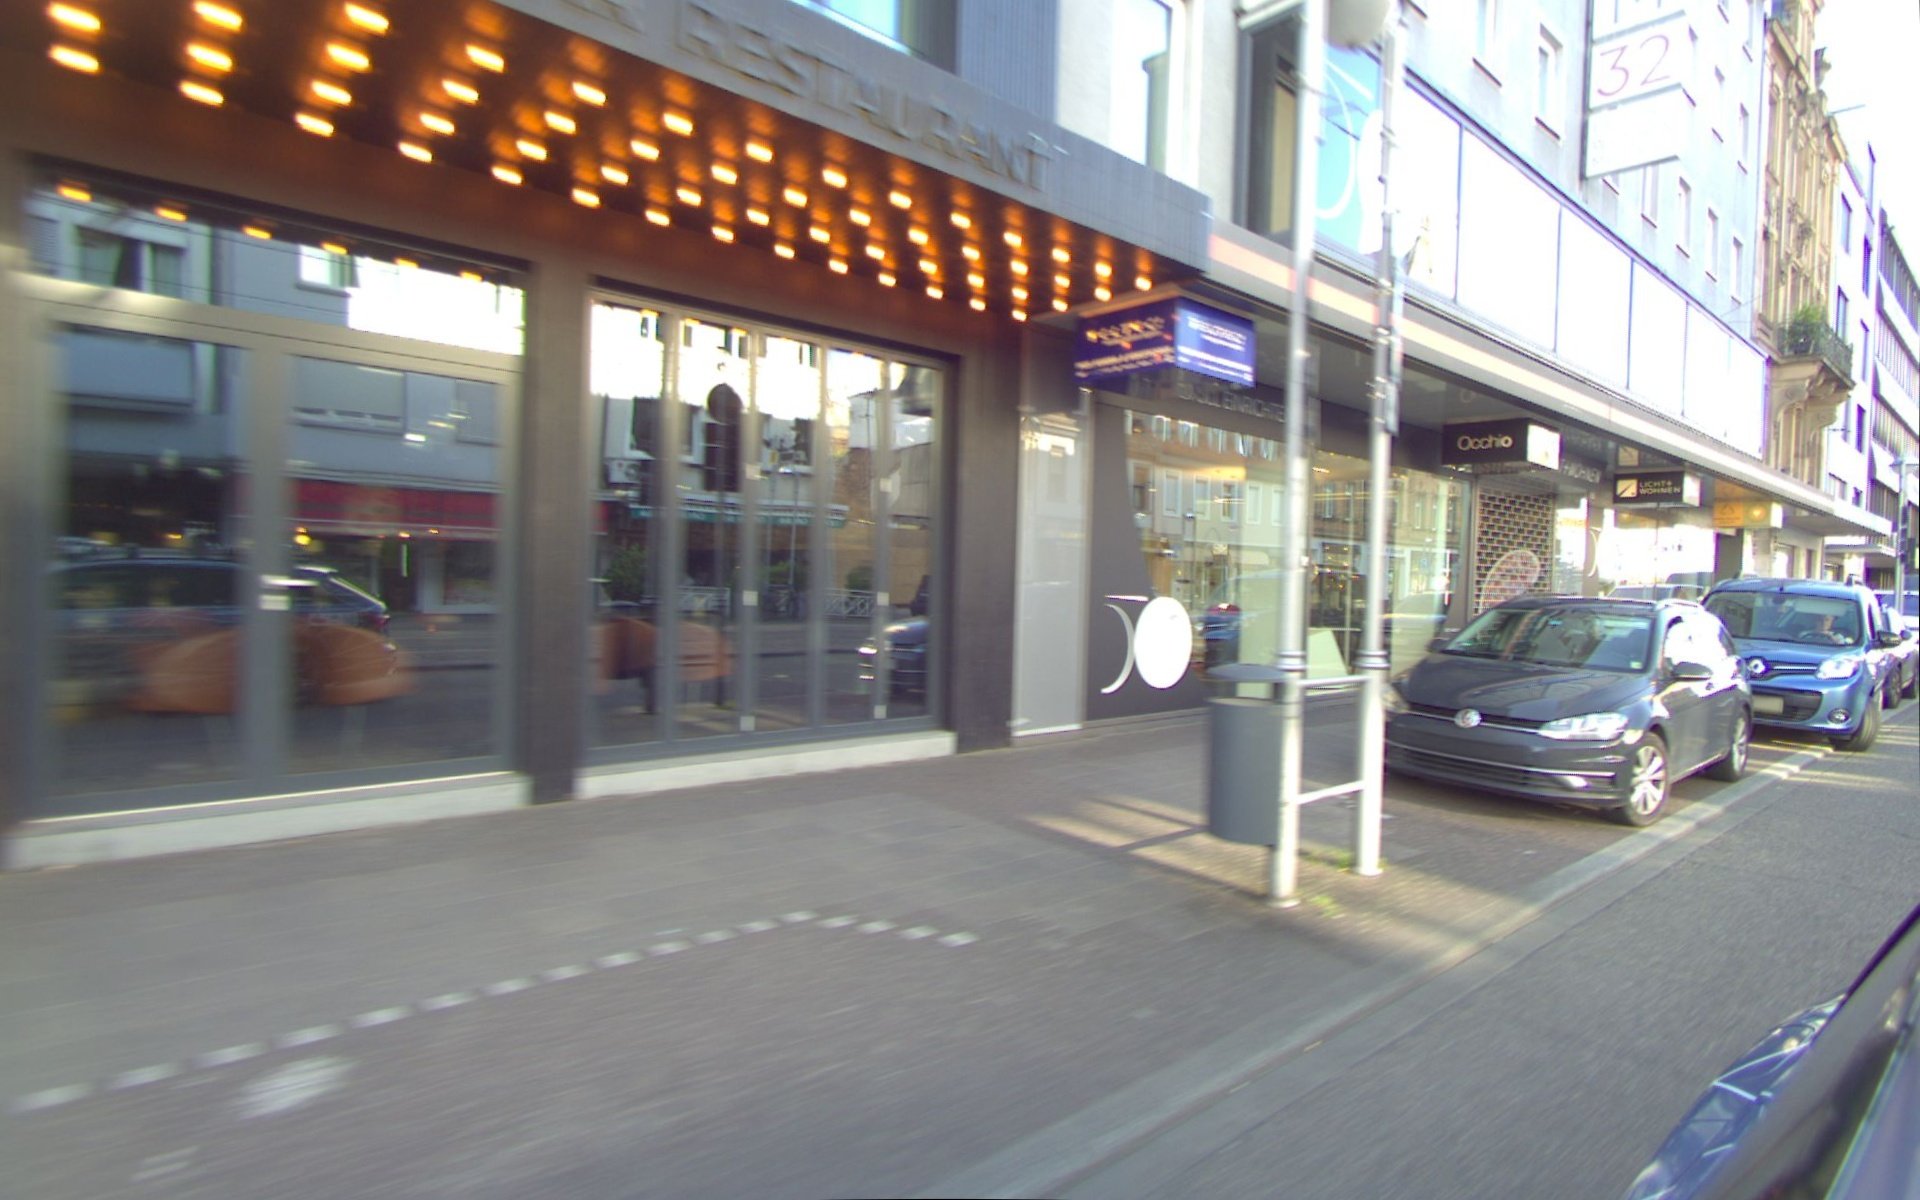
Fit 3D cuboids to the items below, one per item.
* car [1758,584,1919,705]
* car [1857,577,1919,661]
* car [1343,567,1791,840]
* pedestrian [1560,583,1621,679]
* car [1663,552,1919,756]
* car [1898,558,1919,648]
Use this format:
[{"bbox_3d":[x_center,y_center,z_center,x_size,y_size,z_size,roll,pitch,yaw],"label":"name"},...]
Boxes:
[{"bbox_3d":[14.394,0.594,16.232,4.215,1.596,1.767,0,4,-42],"label":"car"},{"bbox_3d":[24.084,0.439,25.312,4.799,1.933,2.048,-1,3,-44],"label":"car"},{"bbox_3d":[4.927,0.565,7.931,4.340,1.502,1.725,0,4,-42],"label":"car"},{"bbox_3d":[10.129,0.479,16.258,0.718,1.457,0.576,0,4,-41],"label":"pedestrian"},{"bbox_3d":[9.817,0.462,11.806,4.476,1.882,1.817,-1,4,-45],"label":"car"},{"bbox_3d":[29.448,0.158,29.936,5.588,2.533,2.048,2,-1,-42],"label":"car"}]
